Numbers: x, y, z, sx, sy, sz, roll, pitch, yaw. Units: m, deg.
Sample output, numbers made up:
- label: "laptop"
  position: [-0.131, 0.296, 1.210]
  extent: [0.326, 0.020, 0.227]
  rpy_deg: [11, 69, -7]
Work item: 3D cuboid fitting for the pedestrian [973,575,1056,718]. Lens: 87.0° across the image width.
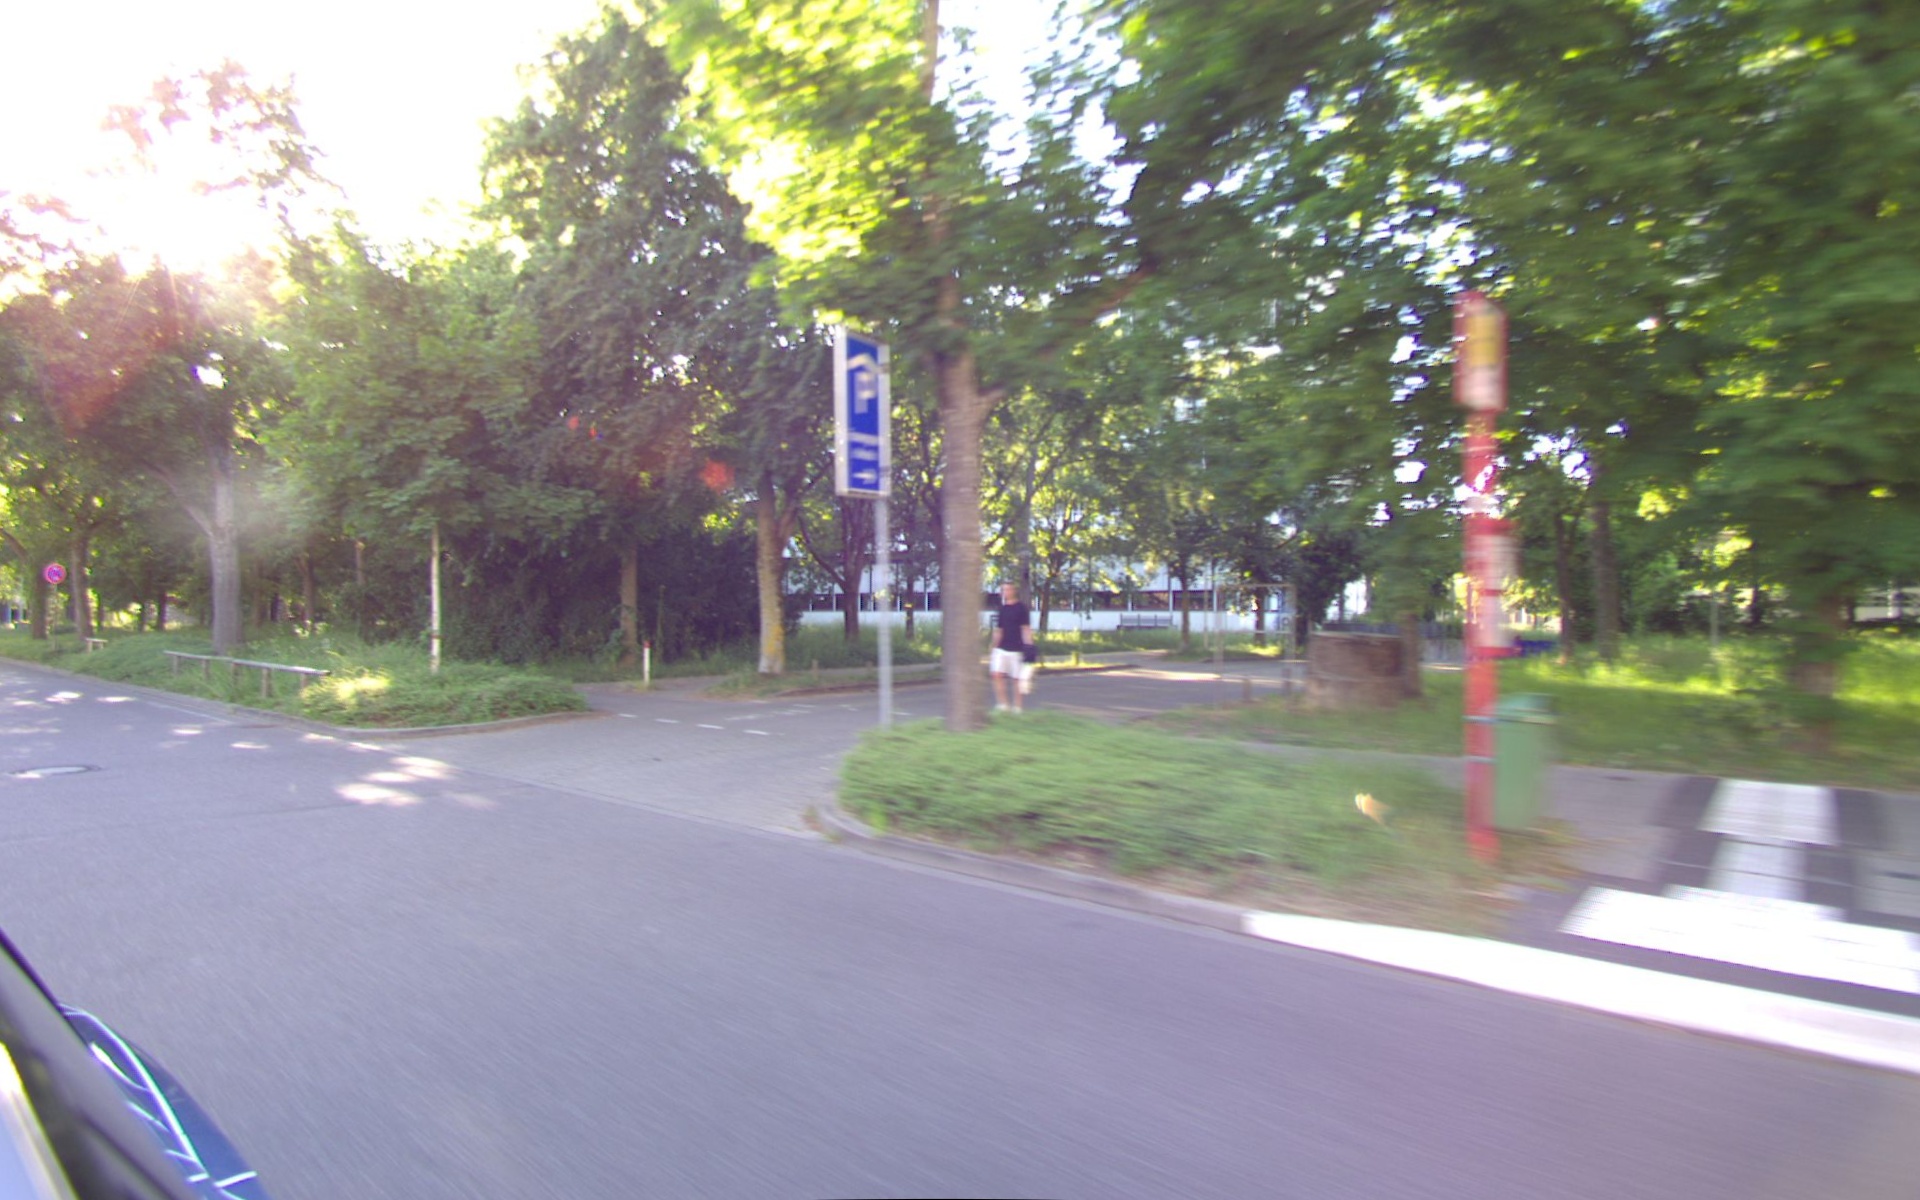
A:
- label: "pedestrian"
  position: [0.733, 0.600, 13.574]
  extent: [0.719, 1.835, 0.894]
  rpy_deg: [-1, -1, 38]
